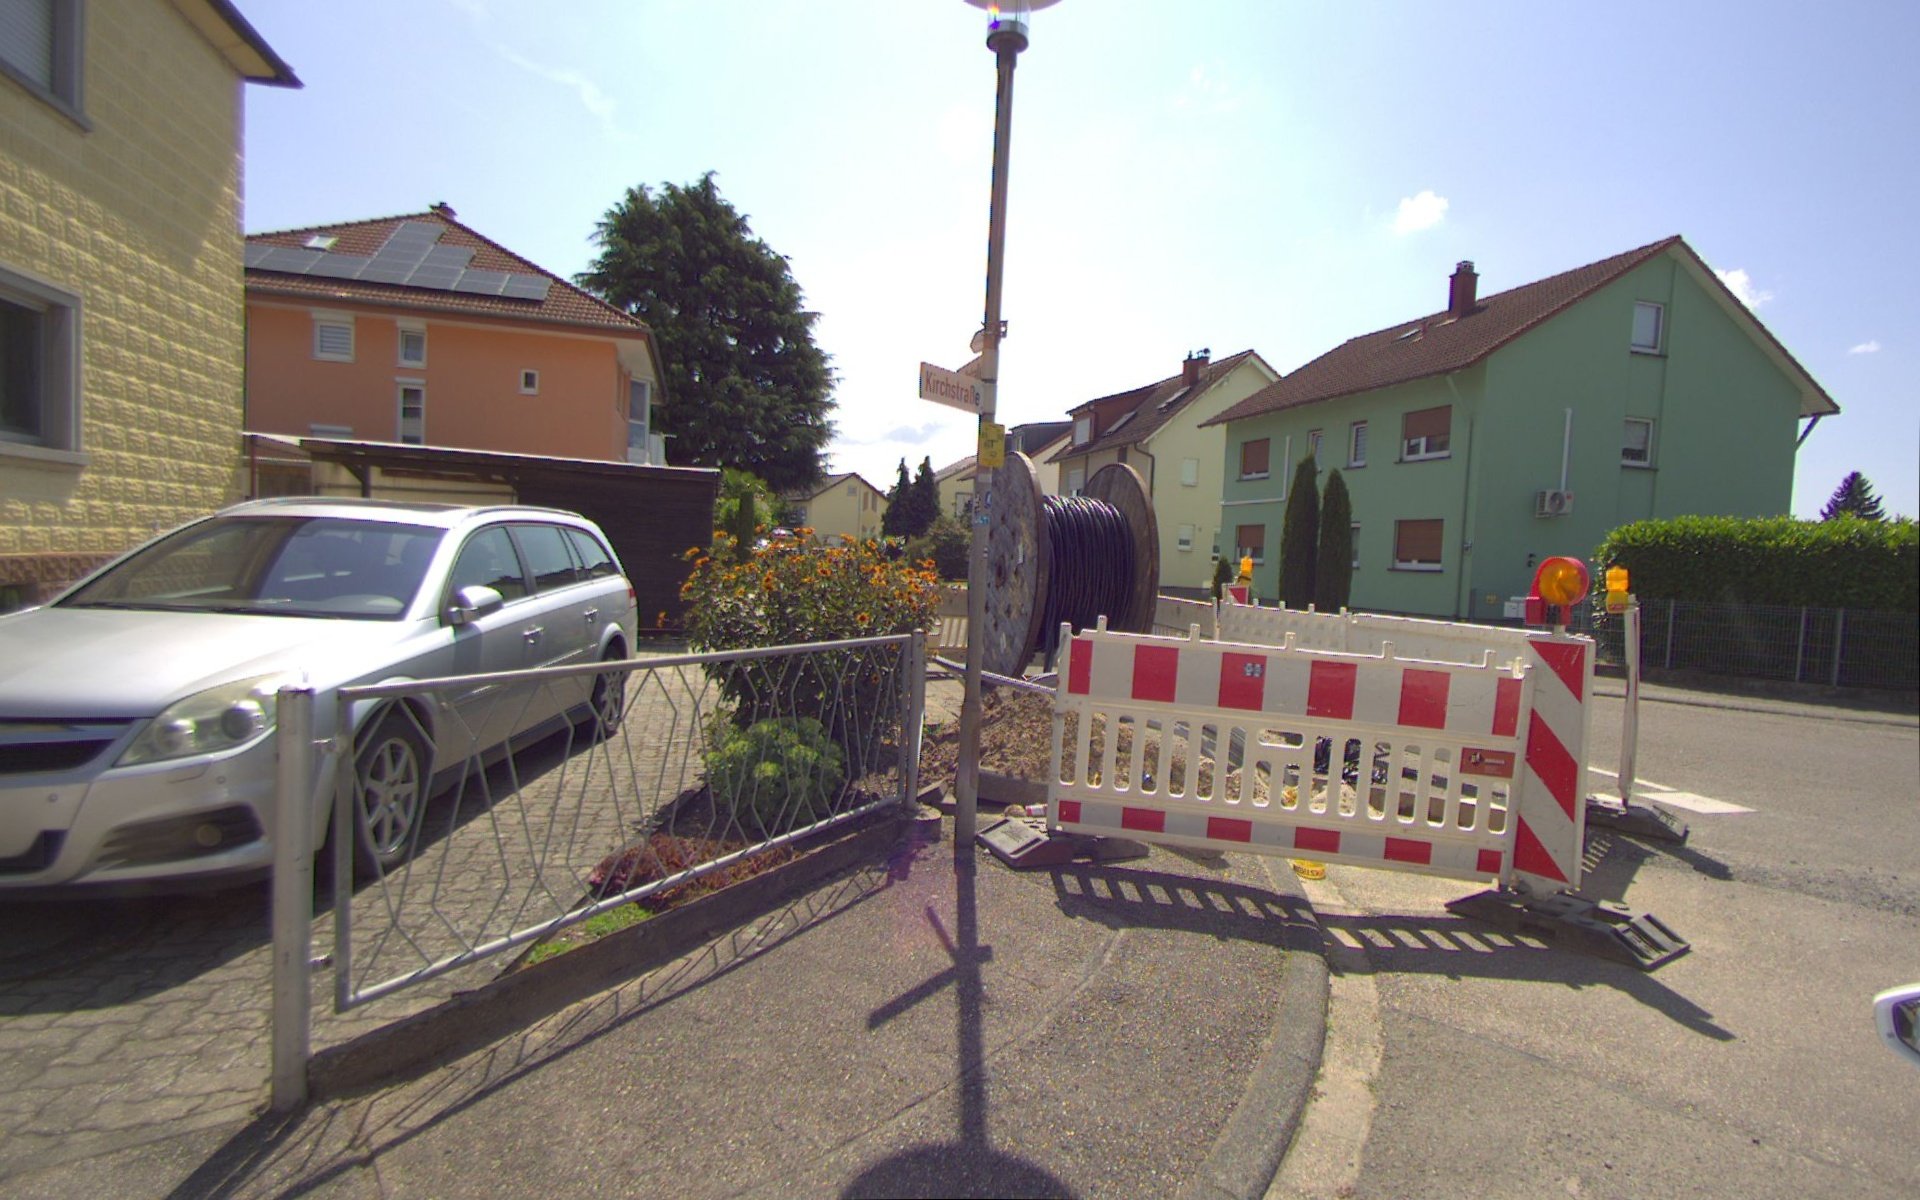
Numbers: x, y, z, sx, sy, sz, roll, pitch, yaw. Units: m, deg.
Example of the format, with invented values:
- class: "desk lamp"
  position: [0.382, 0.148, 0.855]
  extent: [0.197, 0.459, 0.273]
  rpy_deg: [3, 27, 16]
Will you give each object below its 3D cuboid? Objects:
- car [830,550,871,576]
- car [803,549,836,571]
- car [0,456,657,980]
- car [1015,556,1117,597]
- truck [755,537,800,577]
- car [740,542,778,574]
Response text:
- class: "car"
  position: [-7.038, -2.379, 64.233]
  extent: [1.785, 1.515, 3.983]
  rpy_deg: [2, 3, -18]
- class: "car"
  position: [-10.726, -3.029, 76.562]
  extent: [1.785, 1.515, 3.983]
  rpy_deg: [2, 3, -18]
- class: "car"
  position: [-3.030, 0.237, 5.124]
  extent: [1.757, 1.505, 4.470]
  rpy_deg: [3, 2, -3]
- class: "car"
  position: [4.417, -0.998, 42.108]
  extent: [3.861, 1.530, 1.768]
  rpy_deg: [1, 3, -15]
- class: "truck"
  position: [-13.661, -3.235, 74.793]
  extent: [2.403, 2.826, 7.267]
  rpy_deg: [-1, 3, -18]
- class: "car"
  position: [-12.481, -2.637, 62.267]
  extent: [1.785, 1.786, 4.189]
  rpy_deg: [2, 3, -18]
